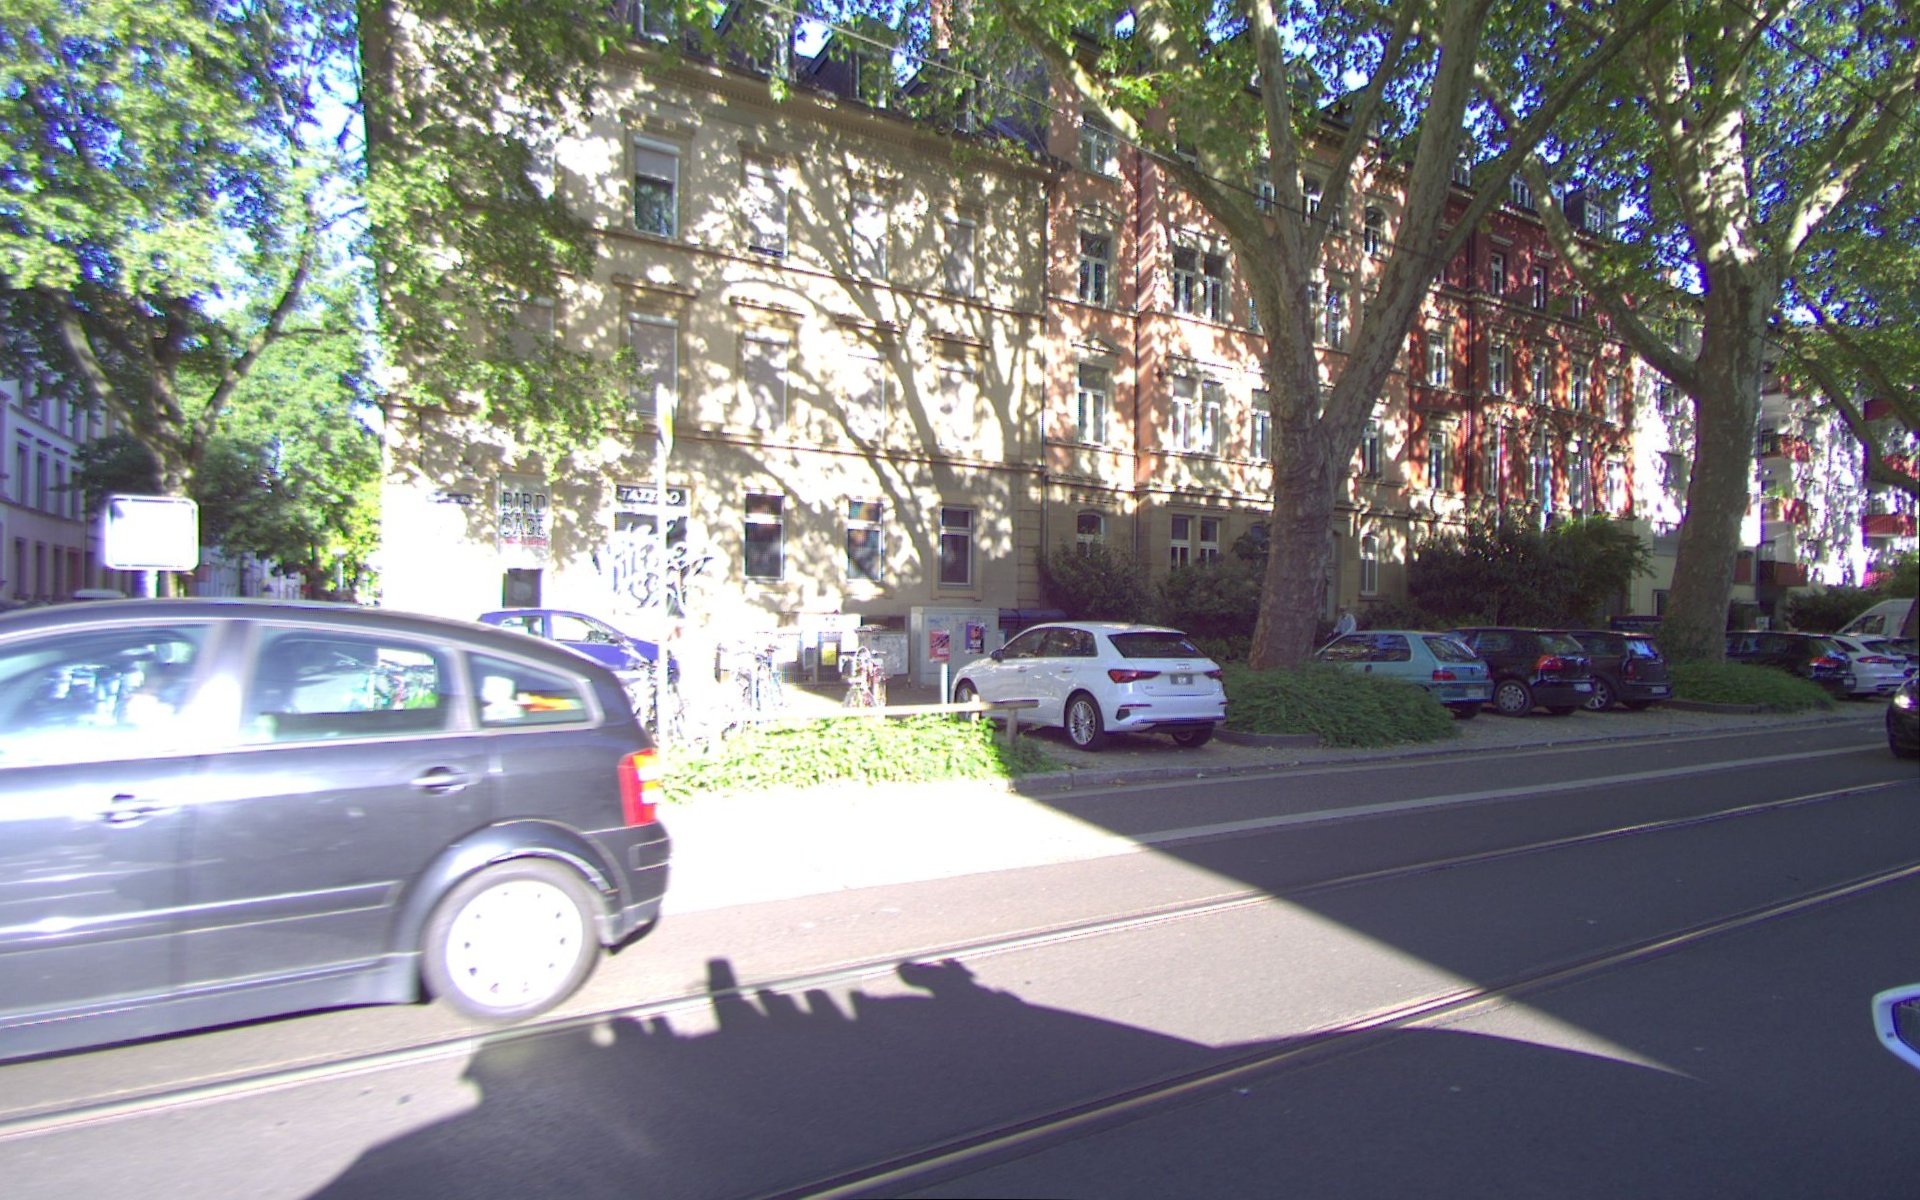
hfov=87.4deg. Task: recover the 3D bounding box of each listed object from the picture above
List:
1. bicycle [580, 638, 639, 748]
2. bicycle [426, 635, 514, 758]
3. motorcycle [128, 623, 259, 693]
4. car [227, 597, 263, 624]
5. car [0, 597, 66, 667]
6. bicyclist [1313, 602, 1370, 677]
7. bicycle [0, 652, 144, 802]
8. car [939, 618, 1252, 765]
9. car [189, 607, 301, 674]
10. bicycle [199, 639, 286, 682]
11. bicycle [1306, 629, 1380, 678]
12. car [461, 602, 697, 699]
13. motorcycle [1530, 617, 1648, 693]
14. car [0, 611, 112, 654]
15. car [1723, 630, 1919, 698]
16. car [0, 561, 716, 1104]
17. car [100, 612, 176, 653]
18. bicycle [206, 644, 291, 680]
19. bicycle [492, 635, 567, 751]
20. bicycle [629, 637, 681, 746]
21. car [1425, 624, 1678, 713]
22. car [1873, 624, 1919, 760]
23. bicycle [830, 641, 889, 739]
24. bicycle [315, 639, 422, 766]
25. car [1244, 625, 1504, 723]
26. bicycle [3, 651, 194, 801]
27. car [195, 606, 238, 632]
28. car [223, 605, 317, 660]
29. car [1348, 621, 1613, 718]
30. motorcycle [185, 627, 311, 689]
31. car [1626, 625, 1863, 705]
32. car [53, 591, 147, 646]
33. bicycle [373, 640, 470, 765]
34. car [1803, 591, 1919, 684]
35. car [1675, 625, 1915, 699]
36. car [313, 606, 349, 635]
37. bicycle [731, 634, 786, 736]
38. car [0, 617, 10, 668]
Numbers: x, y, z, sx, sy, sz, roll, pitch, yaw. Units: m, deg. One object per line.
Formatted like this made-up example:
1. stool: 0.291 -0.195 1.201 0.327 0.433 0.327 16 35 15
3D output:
1. bicycle: -3.901 1.000 11.237 0.389 1.102 1.560 1 -1 -11
2. bicycle: -4.906 0.925 10.126 0.389 1.102 1.560 1 -1 -11
3. motorcycle: -14.434 1.084 18.972 1.850 1.278 0.586 1 -1 -25
4. car: -48.179 0.726 67.736 1.735 1.722 3.370 1 -1 -31
5. car: -24.833 0.794 26.029 1.735 1.715 3.152 1 -1 -28
6. bicyclist: 9.281 0.949 24.458 1.036 1.786 0.826 1 -1 -30
7. bicycle: -7.871 1.038 8.709 0.389 1.102 1.858 1 -1 -11
8. car: 1.498 0.993 12.554 1.857 1.479 3.968 1 -1 -30
9. car: -17.174 0.937 24.274 1.735 1.483 3.374 1 -1 -28
10. bicycle: -15.058 1.261 21.112 1.435 0.871 0.395 1 -1 -29
11. bicycle: 9.354 1.293 24.535 1.759 1.154 0.738 1 -1 -30
12. car: -6.376 0.817 16.905 3.452 1.479 1.589 2 -1 -33
13. motorcycle: 14.867 1.291 23.709 2.977 1.653 1.047 2 1 -30
14. car: -27.324 0.957 30.470 1.735 1.193 3.374 1 -1 -28
15. car: 21.468 1.507 24.832 1.683 1.451 3.794 1 -1 -27
16. car: -2.929 0.689 3.667 3.650 1.529 1.627 1 -3 -32
17. car: -31.901 1.226 39.083 1.596 1.514 3.582 1 -1 -28
18. bicycle: -15.326 1.333 21.671 1.435 0.742 0.395 1 -1 -29
19. bicycle: -4.516 0.935 10.604 0.389 1.102 1.560 1 -1 -11
20. bicycle: -3.423 0.987 11.325 0.389 1.102 1.560 1 -1 -11
21. car: 11.289 1.245 19.462 1.683 1.479 3.972 1 -1 -27
22. car: 12.614 1.077 11.957 3.682 1.530 1.708 2 -1 -33
23. bicycle: -1.196 1.051 12.266 0.585 1.057 1.806 1 -1 -2
24. bicycle: -5.764 0.957 9.858 0.389 1.102 1.560 1 -1 -11
25. car: 6.828 1.151 16.979 1.585 1.387 3.970 1 -1 -28
26. bicycle: -7.465 1.034 8.809 0.389 1.102 1.858 1 -1 -11
27. car: -43.247 1.099 58.458 1.644 1.500 3.370 1 -1 -31
28. car: -19.518 0.890 28.546 1.735 1.429 3.885 1 -1 -28
29. car: 9.200 1.161 18.100 1.748 1.479 3.972 1 -1 -27
30. motorcycle: -13.110 1.048 18.526 1.825 1.086 0.524 2 -1 -43
31. car: 17.204 1.360 22.207 1.683 1.480 3.777 1 0 -28
32. car: -29.656 0.640 34.749 1.735 1.812 3.374 1 -1 -28
33. bicycle: -5.335 0.973 10.024 0.389 1.102 1.560 1 -1 -11
34. car: 27.569 1.062 28.112 2.136 2.570 5.715 1 0 -29
35. car: 19.437 1.381 23.561 1.808 1.516 3.970 1 -1 -29
36. car: -35.163 1.128 56.181 1.588 1.572 3.290 1 -1 -31
37. bicycle: -2.445 0.982 12.214 0.587 1.102 1.921 1 -1 -11
38. car: -22.378 0.957 21.768 1.735 1.193 3.374 1 -1 -28
